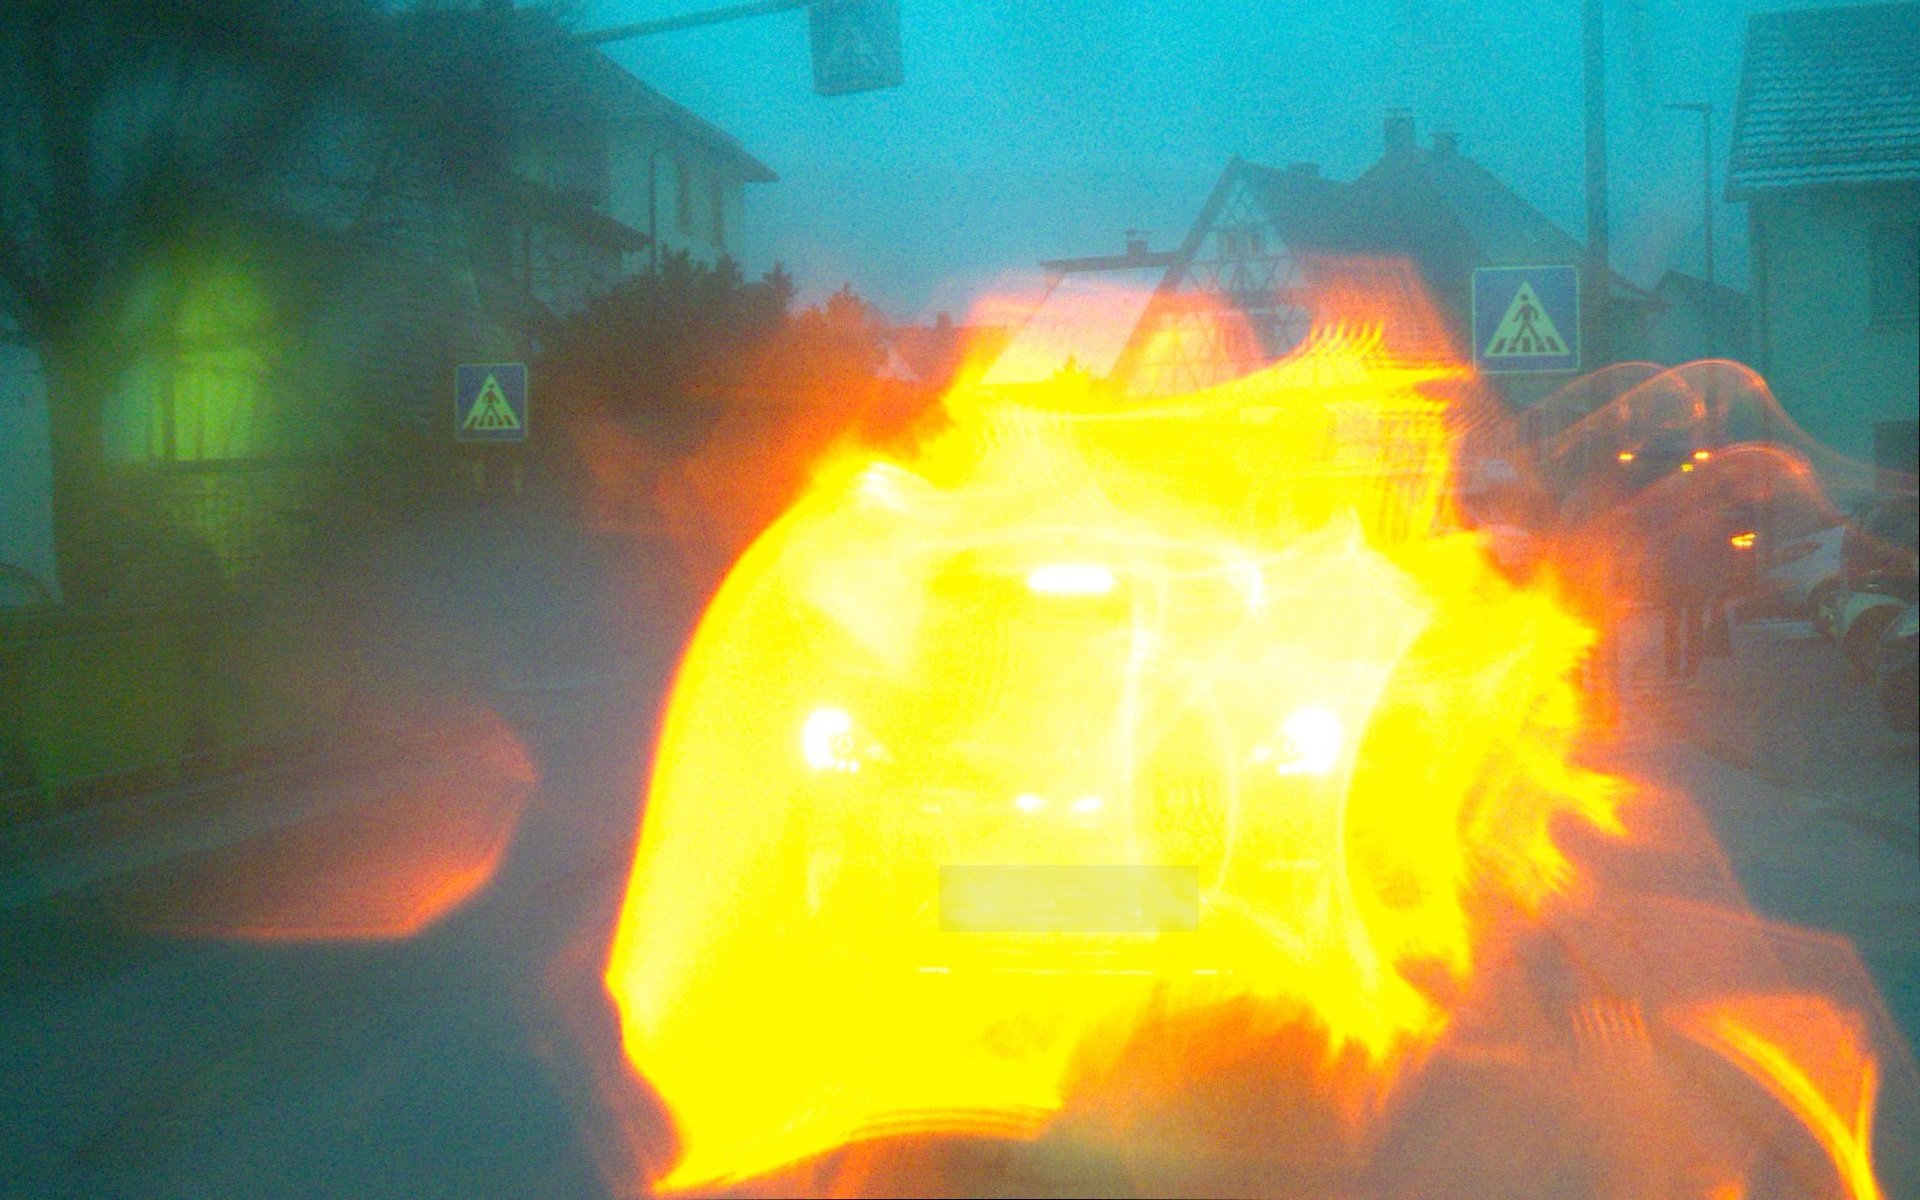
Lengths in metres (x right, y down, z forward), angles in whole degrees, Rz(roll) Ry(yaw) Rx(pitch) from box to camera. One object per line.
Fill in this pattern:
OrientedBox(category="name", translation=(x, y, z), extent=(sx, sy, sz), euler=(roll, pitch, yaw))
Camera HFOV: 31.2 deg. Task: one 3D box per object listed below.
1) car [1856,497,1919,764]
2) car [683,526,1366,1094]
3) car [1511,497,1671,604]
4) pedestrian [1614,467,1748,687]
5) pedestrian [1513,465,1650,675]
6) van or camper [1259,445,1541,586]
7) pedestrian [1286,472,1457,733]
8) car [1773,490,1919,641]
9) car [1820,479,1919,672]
OrientedBox(category="car", translation=(6.572, 0.107, 19.501), extent=(2.765, 1.469, 1.426), euler=(-2, 1, 12))
OrientedBox(category="car", translation=(0.136, 0.512, 11.050), extent=(1.795, 1.471, 4.000), euler=(0, 2, -1))
OrientedBox(category="car", translation=(10.078, -0.813, 54.689), extent=(1.849, 1.631, 4.332), euler=(1, 1, 19))
OrientedBox(category="pedestrian", translation=(5.930, -0.194, 28.237), extent=(0.849, 1.727, 0.971), euler=(-4, 1, 20))
OrientedBox(category="pedestrian", translation=(5.166, -0.254, 28.537), extent=(0.868, 1.661, 0.991), euler=(-4, 1, 20))
OrientedBox(category="van or camper", translation=(10.501, -1.997, 82.169), extent=(6.069, 2.945, 2.403), euler=(-4, 0, 27))
OrientedBox(category="pedestrian", translation=(2.868, 0.006, 23.922), extent=(0.880, 1.729, 0.955), euler=(-4, 1, 20))
OrientedBox(category="car", translation=(10.385, -0.409, 35.256), extent=(3.902, 1.469, 1.750), euler=(-2, 1, 15))
OrientedBox(category="car", translation=(8.562, -0.256, 28.643), extent=(2.584, 1.542, 1.550), euler=(-2, 2, 12))
